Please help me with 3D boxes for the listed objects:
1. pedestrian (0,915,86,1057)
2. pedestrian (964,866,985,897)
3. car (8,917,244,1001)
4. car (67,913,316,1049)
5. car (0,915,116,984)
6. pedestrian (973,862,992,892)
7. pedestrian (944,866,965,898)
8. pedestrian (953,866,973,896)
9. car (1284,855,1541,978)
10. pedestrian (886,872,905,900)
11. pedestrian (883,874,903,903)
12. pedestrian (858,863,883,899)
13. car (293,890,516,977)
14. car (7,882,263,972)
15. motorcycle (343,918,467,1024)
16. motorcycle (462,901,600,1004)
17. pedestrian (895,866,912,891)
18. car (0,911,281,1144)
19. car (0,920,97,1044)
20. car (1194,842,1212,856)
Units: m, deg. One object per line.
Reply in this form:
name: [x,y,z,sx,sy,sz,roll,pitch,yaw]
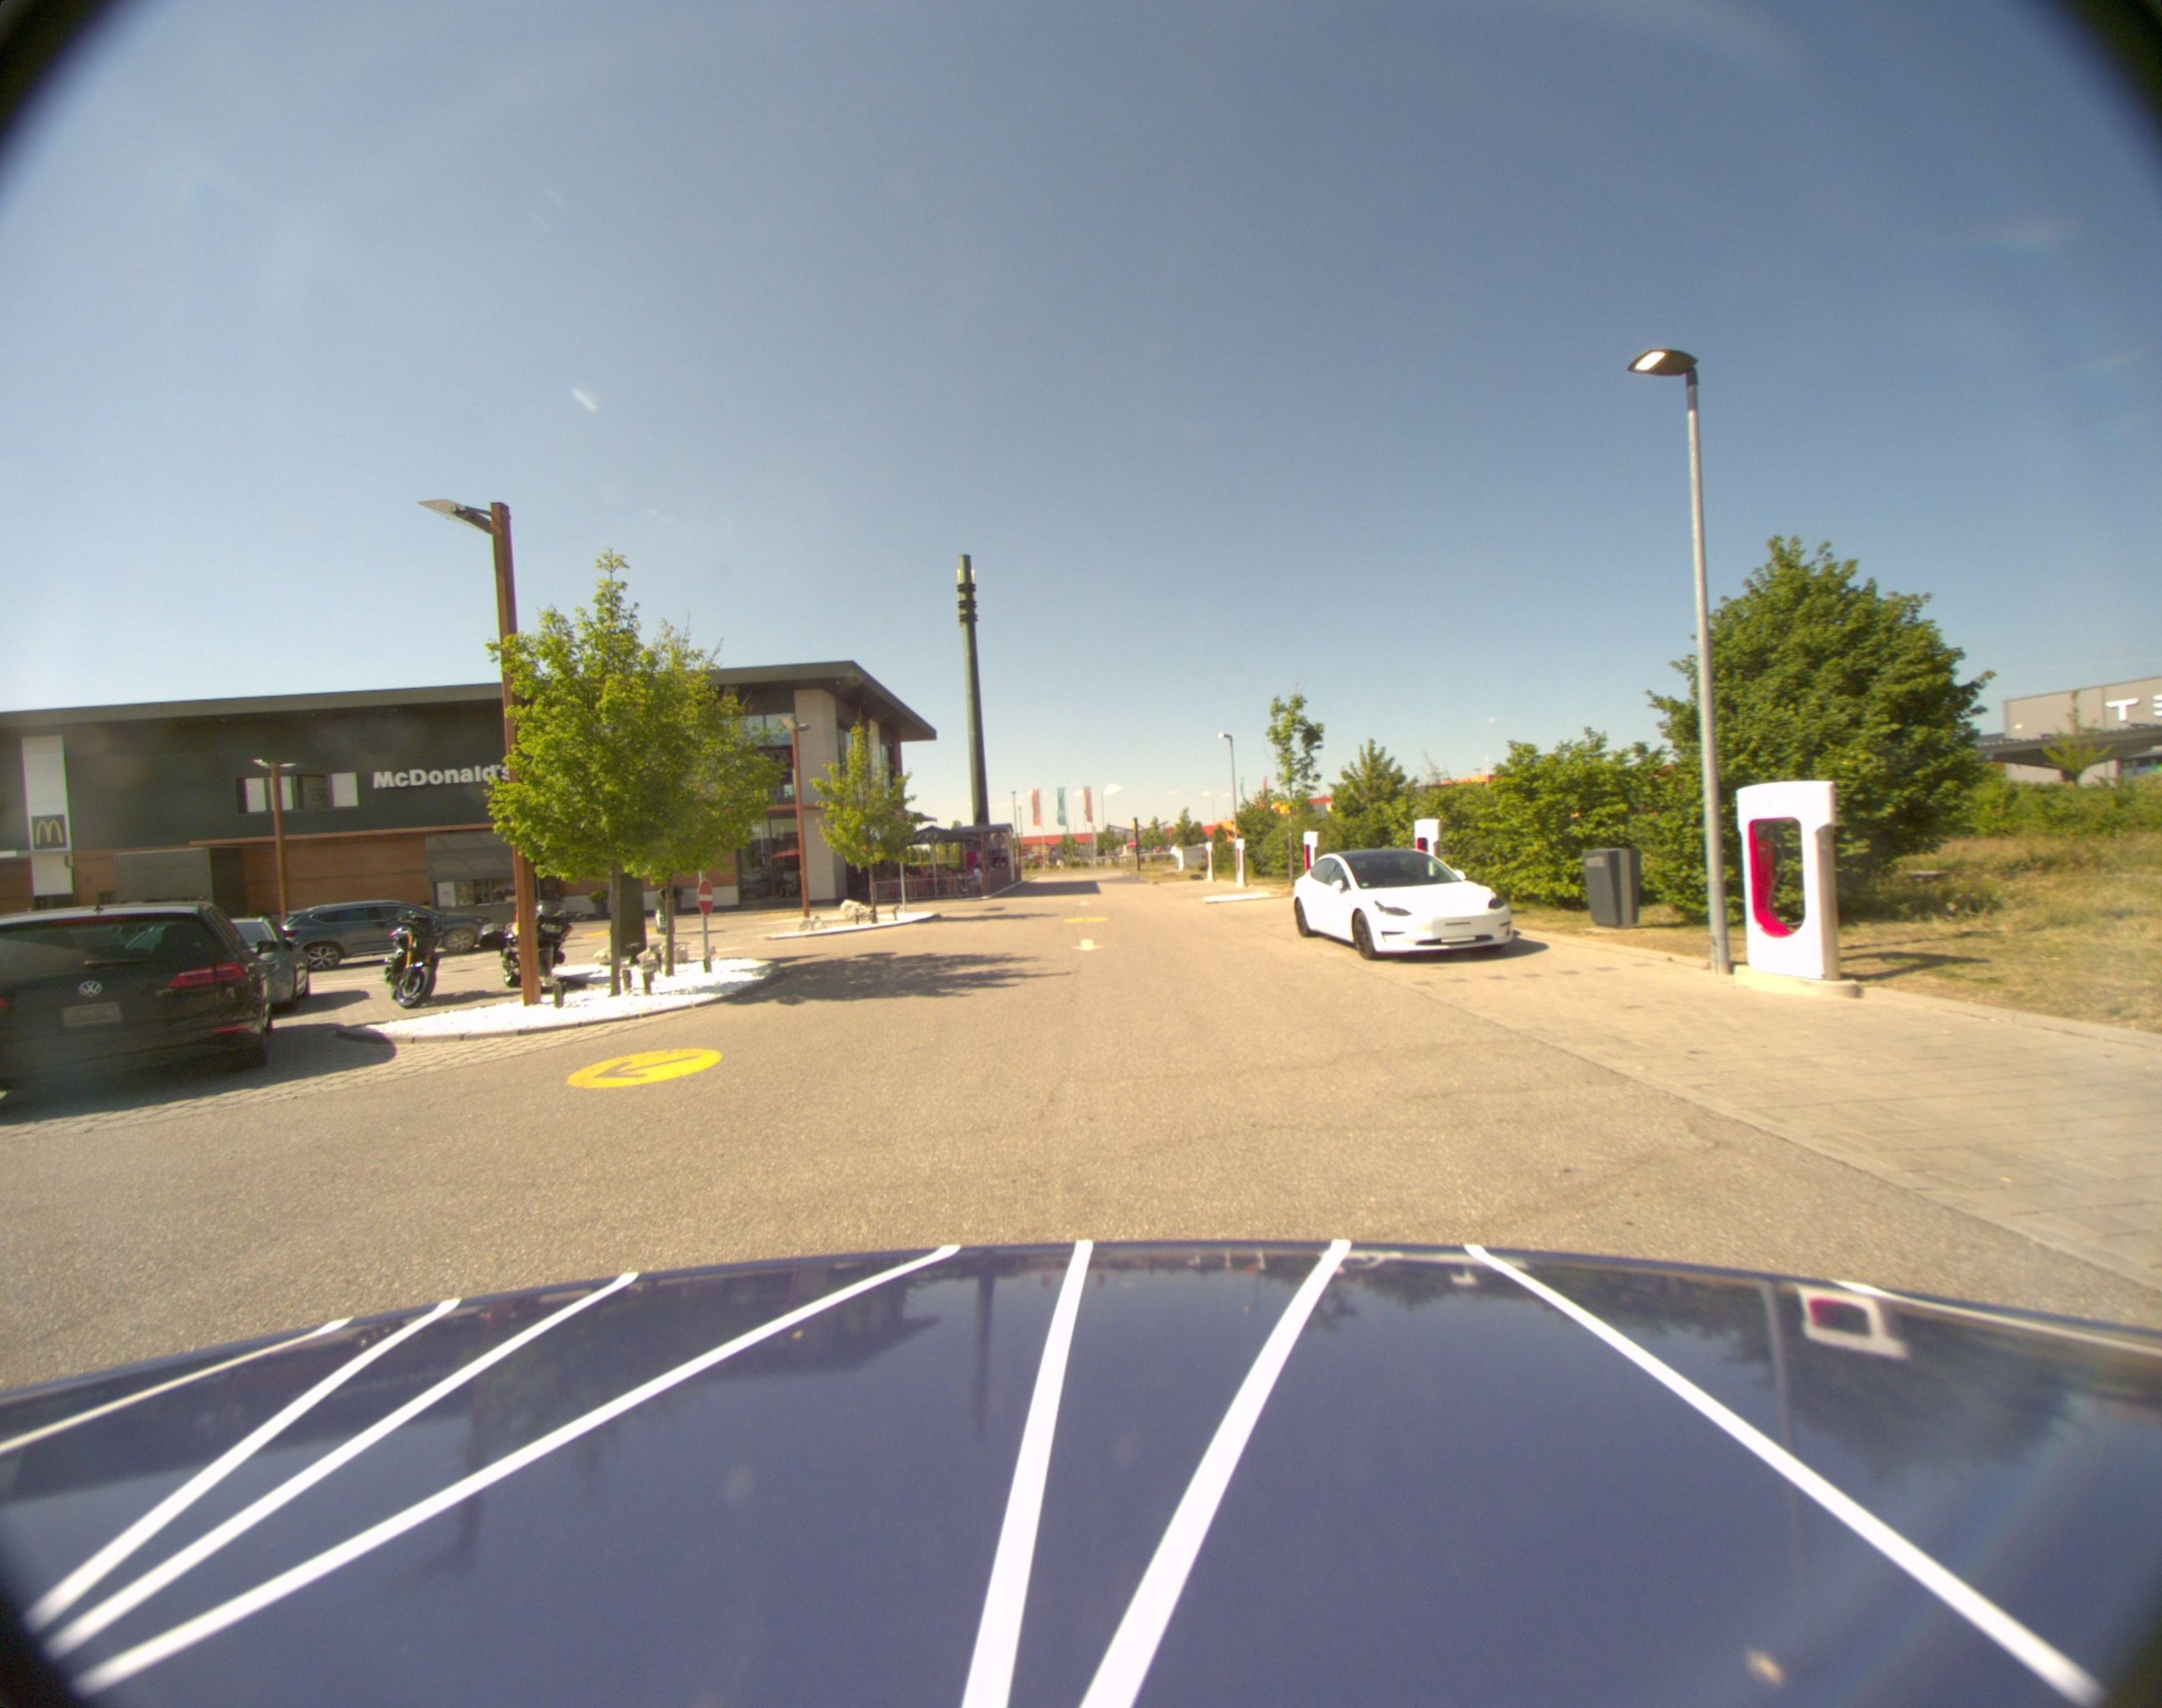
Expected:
pedestrian: [-13.477,1.672,9.772,0.612,1.703,0.562,-4,1,-37]
pedestrian: [-4.415,1.132,31.591,0.729,1.250,0.573,-4,1,-5]
car: [-23.126,2.471,18.587,1.564,1.473,3.421,-3,1,40]
car: [-12.953,1.725,11.391,1.839,1.438,4.652,-4,-1,-43]
car: [-29.277,2.658,20.480,1.754,1.622,3.851,-3,0,34]
pedestrian: [-4.297,0.987,33.113,0.729,1.250,0.573,-4,1,-5]
pedestrian: [-5.201,1.137,31.218,0.715,1.250,0.524,-4,1,-4]
pedestrian: [-5.120,1.160,33.065,0.715,1.250,0.524,-4,1,-4]
car: [4.596,0.756,11.388,1.821,1.369,4.448,-4,0,0]
pedestrian: [-7.687,1.319,31.482,0.634,1.117,0.524,-4,0,-4]
pedestrian: [-7.637,1.394,30.898,0.634,1.117,0.524,-4,0,-4]
pedestrian: [-9.734,1.233,35.126,0.740,1.574,0.729,-4,1,10]
car: [-18.109,2.037,20.503,1.786,1.594,4.234,-1,4,44]
car: [-25.374,1.873,20.614,1.753,1.910,4.153,-3,0,40]
motorcycle: [-9.286,1.549,10.410,2.136,1.224,0.822,-5,0,38]
motorcycle: [-8.031,1.391,11.048,2.246,1.243,1.073,-6,0,42]
pedestrian: [-8.089,1.096,34.602,0.573,1.094,0.656,-4,0,-1]
car: [-9.090,1.411,7.190,1.899,1.528,4.180,-4,0,-45]
car: [-16.530,1.889,11.088,1.815,1.584,3.990,-4,0,-41]
car: [18.488,-0.769,115.516,1.998,2.002,4.000,-3,0,0]
